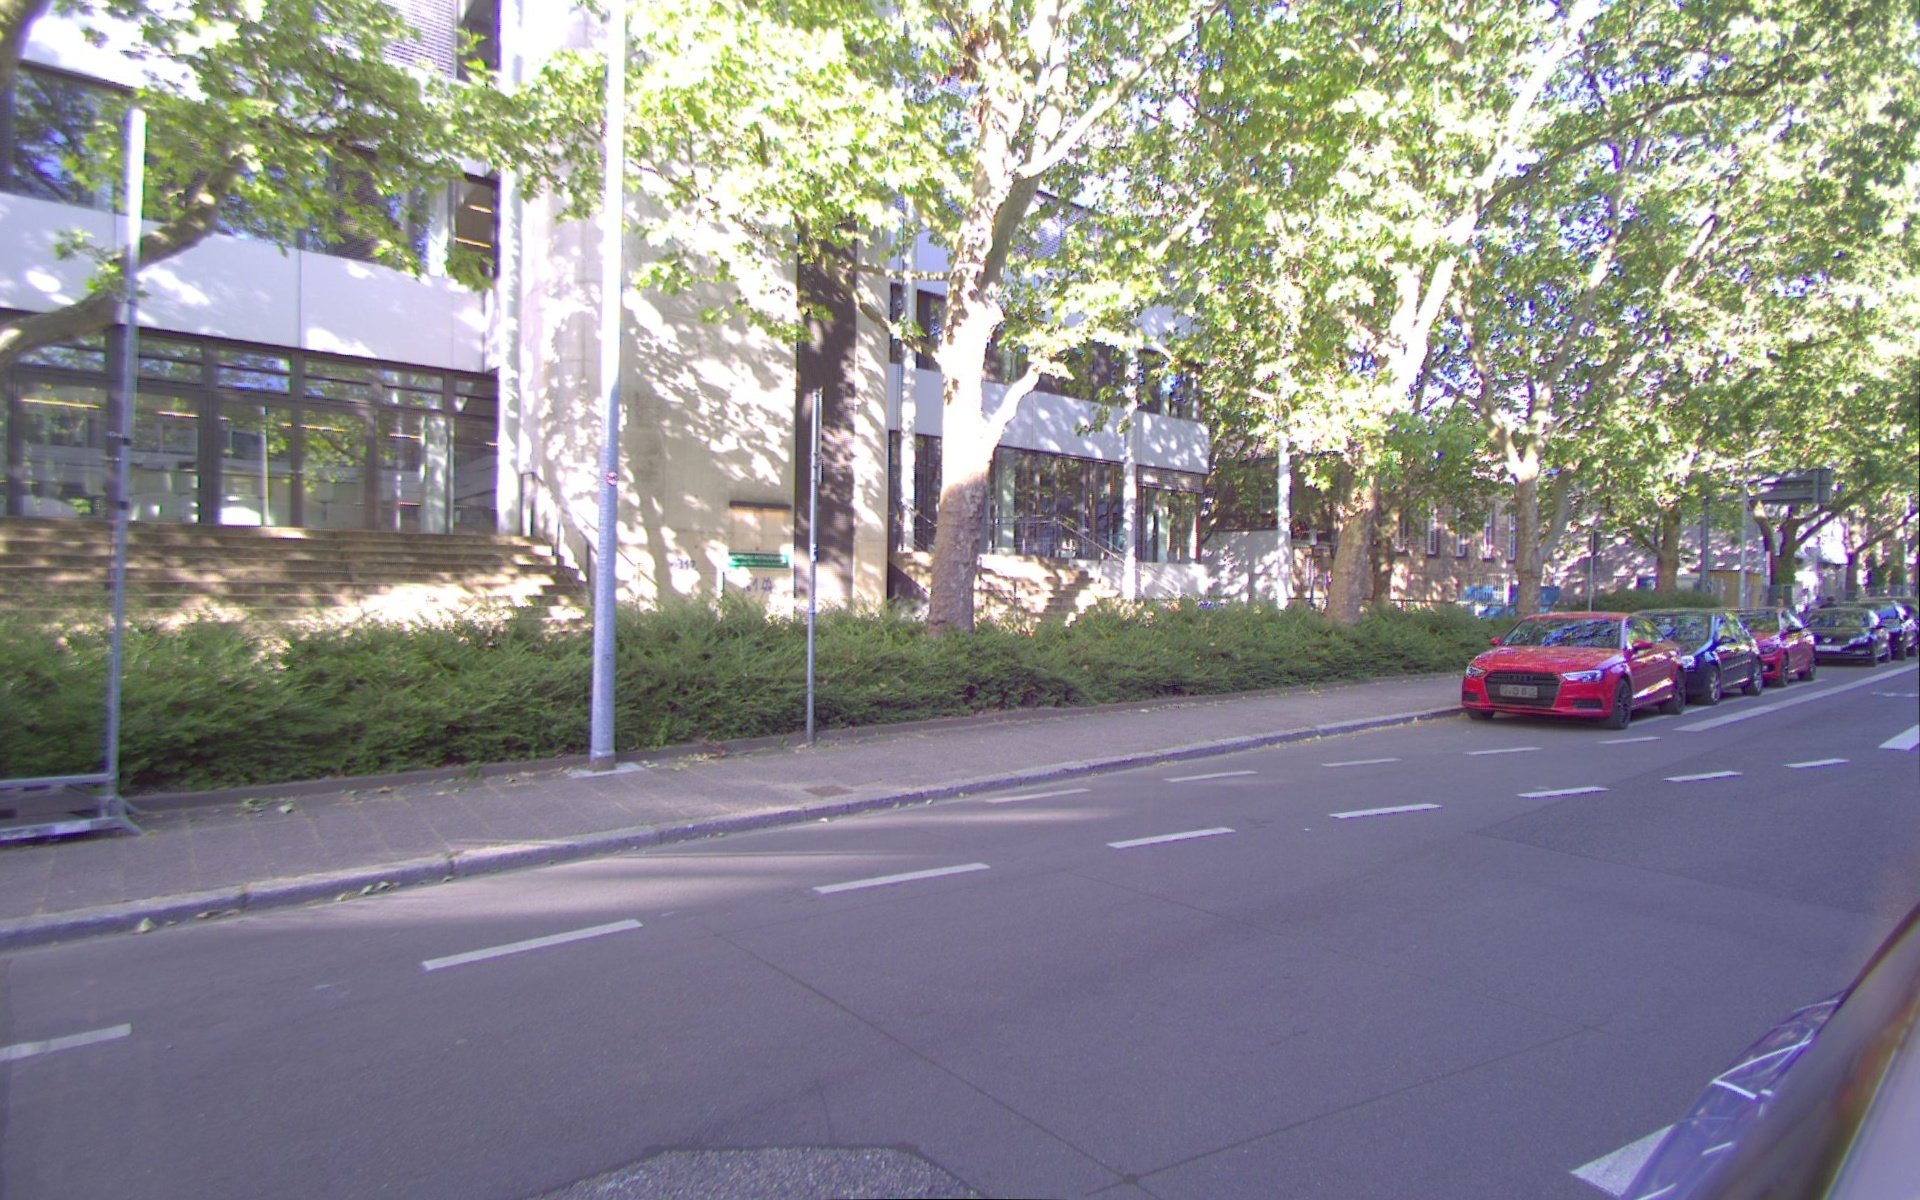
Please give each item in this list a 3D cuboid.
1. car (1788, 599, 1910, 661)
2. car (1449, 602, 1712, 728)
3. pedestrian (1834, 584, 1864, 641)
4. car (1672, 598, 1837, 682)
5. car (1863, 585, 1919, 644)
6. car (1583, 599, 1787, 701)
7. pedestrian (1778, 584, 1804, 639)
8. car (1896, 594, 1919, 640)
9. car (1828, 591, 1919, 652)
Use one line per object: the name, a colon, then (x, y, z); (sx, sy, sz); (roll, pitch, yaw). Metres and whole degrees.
car: (22.867, 0.706, 25.987); (4.095, 1.486, 1.834); (0, 0, -41)
car: (8.400, 0.739, 13.565); (4.173, 1.422, 1.834); (0, 0, -41)
pedestrian: (29.822, 0.420, 33.941); (0.629, 1.884, 0.660); (0, 0, -41)
car: (15.835, 0.712, 20.096); (4.095, 1.486, 1.834); (0, 0, -41)
car: (31.042, 0.443, 32.971); (4.383, 1.820, 1.834); (0, 0, -40)
car: (12.019, 0.721, 16.681); (4.095, 1.464, 1.834); (0, 0, -41)
pedestrian: (27.977, 0.375, 34.070); (0.583, 1.818, 0.600); (0, 0, -41)
car: (35.905, 0.586, 37.097); (4.183, 1.634, 1.834); (0, 0, -40)
car: (26.556, 0.576, 29.082); (4.088, 1.626, 1.834); (0, 0, -40)
